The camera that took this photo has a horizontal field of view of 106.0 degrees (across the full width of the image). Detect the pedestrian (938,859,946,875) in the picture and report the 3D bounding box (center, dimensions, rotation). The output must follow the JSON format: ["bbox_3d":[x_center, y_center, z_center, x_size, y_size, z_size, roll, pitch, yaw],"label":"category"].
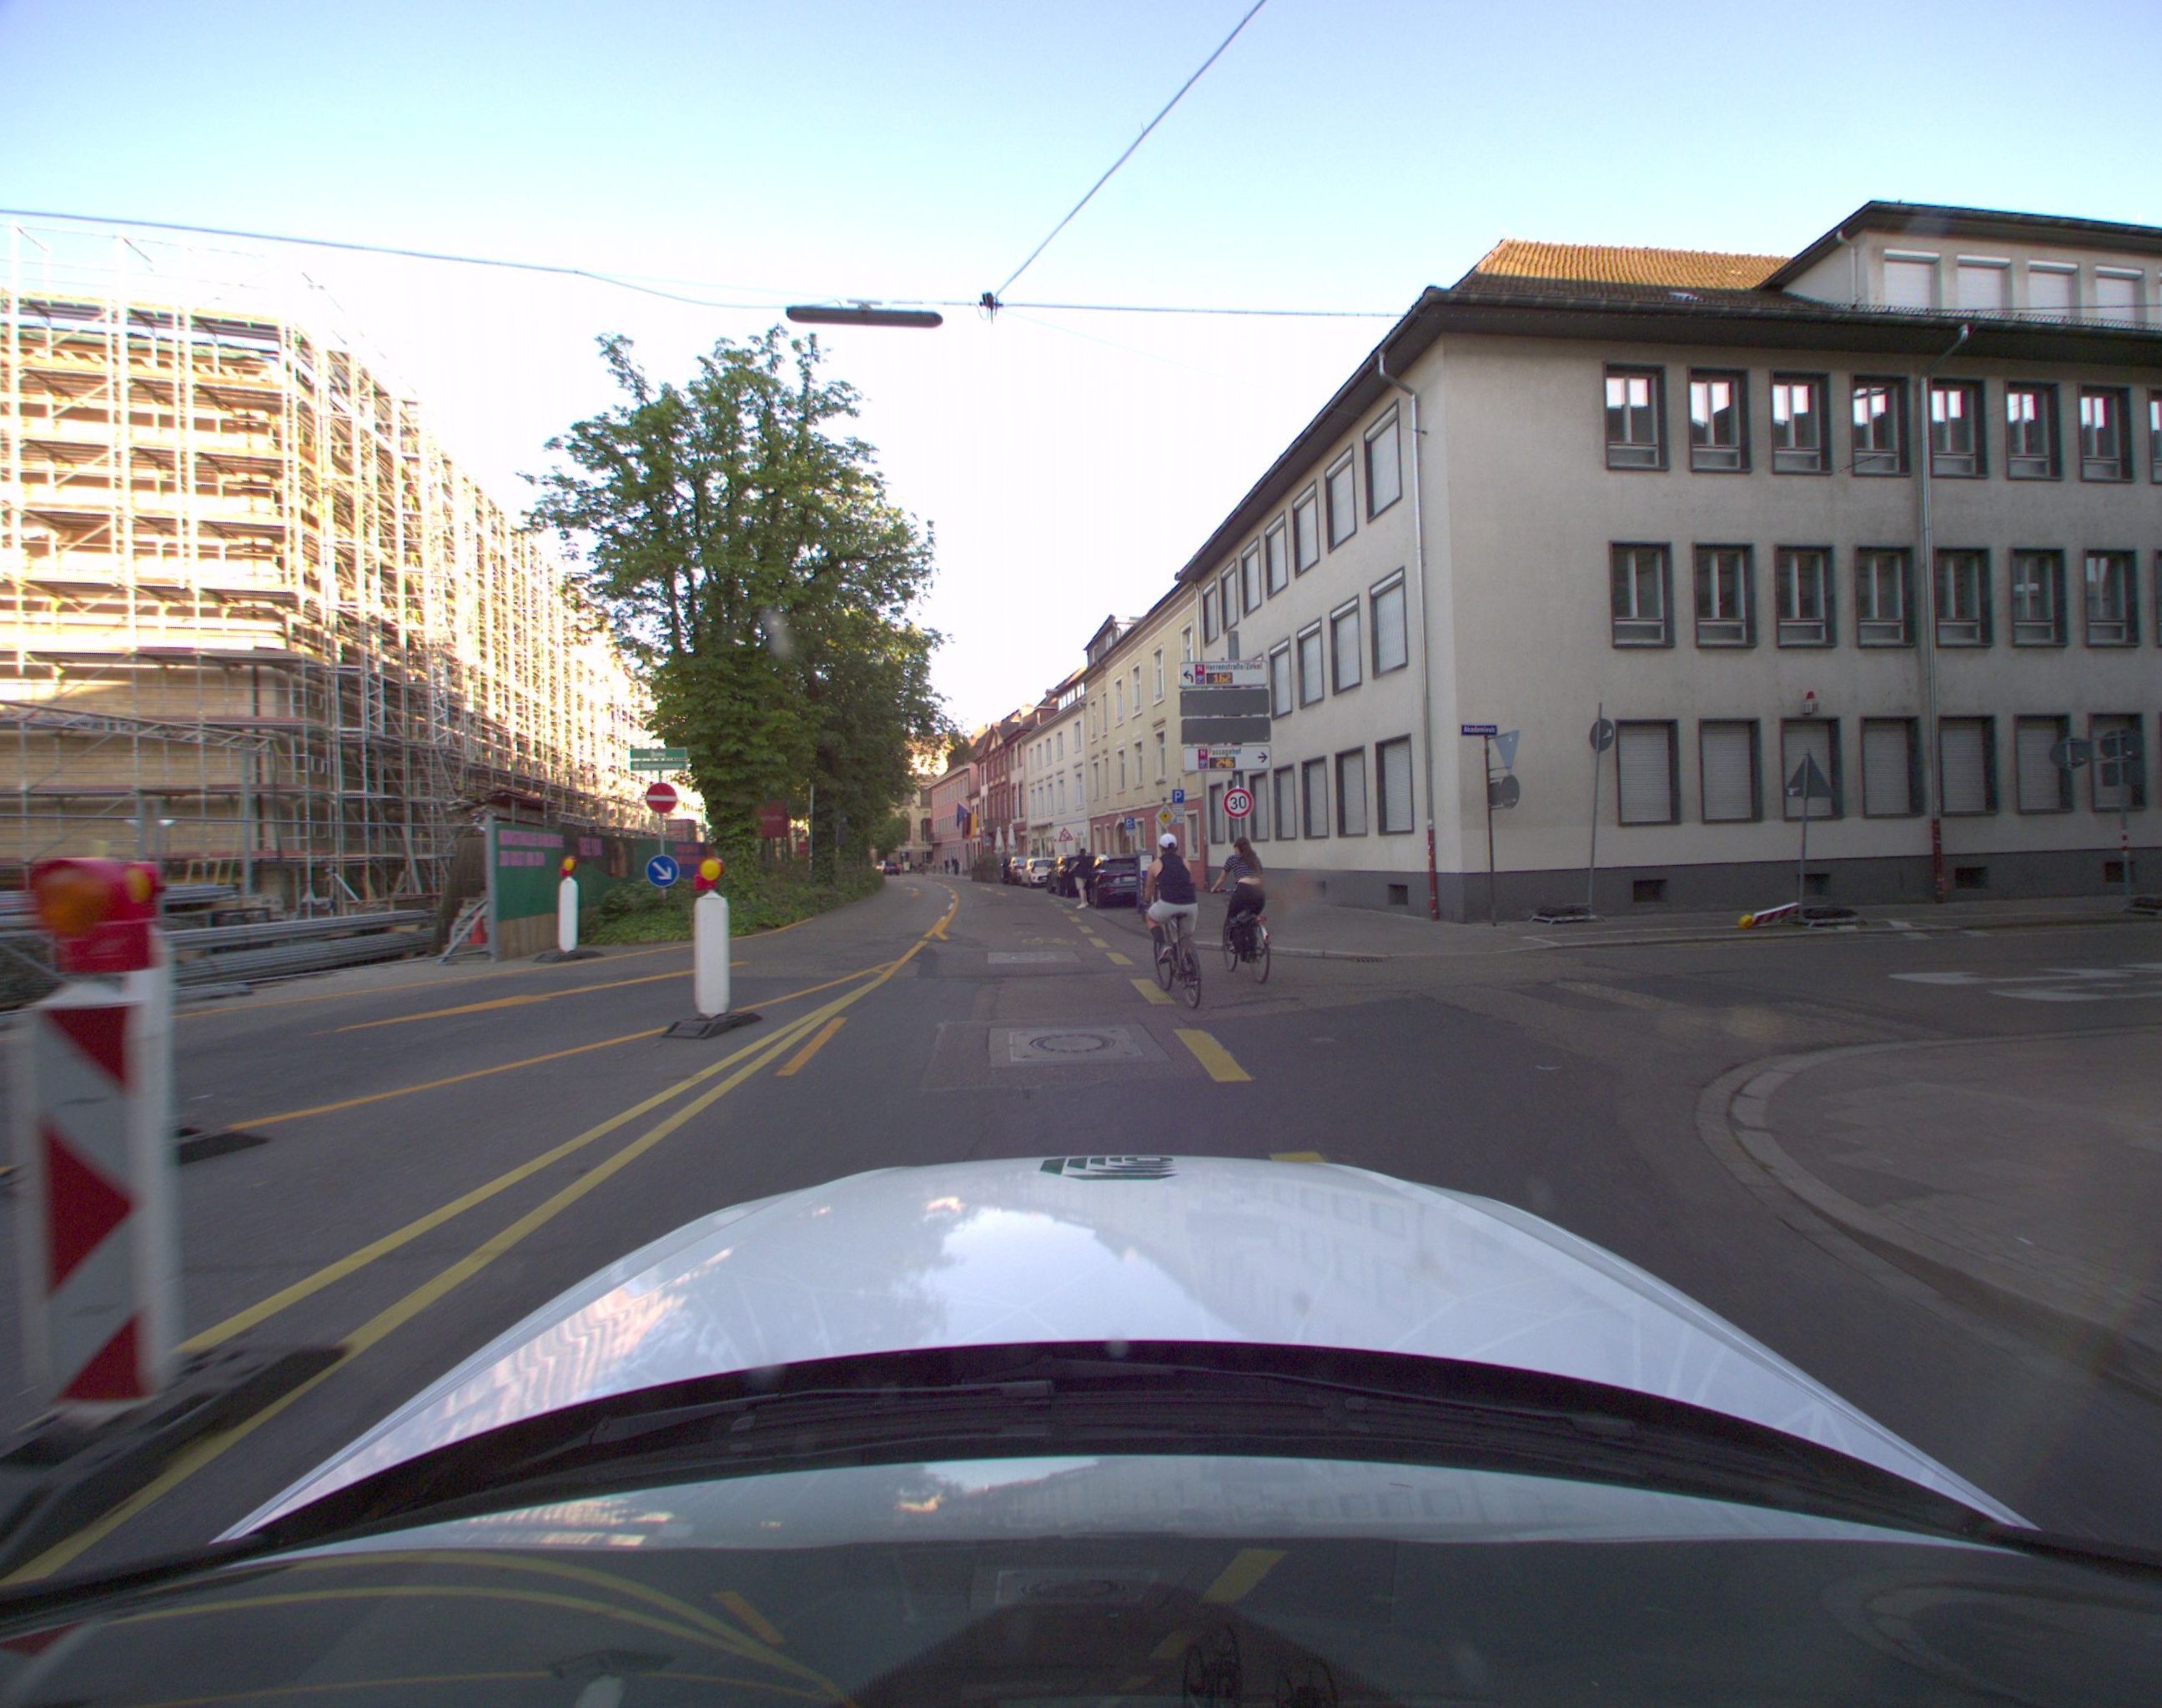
[{"bbox_3d":[-14.201,1.305,83.245,0.669,1.581,0.582,-1,0,-16],"label":"pedestrian"}]

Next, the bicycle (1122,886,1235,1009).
[{"bbox_3d":[0.966,0.909,8.570,0.669,1.071,1.895,0,0,-9],"label":"bicycle"}]

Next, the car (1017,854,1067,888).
[{"bbox_3d":[-2.031,0.834,41.558,1.815,1.560,3.846,-1,0,-14],"label":"car"}]

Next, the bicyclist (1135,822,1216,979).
[{"bbox_3d":[0.973,0.465,8.495,0.668,1.566,0.696,0,-1,-9],"label":"bicyclist"}]

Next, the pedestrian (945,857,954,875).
[{"bbox_3d":[-13.386,1.245,82.777,0.752,1.762,0.582,-1,0,-17],"label":"pedestrian"}]

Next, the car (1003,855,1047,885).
[{"bbox_3d":[-3.193,0.879,45.976,1.815,1.560,3.846,-1,0,-14],"label":"car"}]

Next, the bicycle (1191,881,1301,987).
[{"bbox_3d":[1.951,0.906,9.975,0.652,1.071,2.253,0,0,-7],"label":"bicycle"}]

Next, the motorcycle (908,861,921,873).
[{"bbox_3d":[-18.145,1.389,88.696,1.044,1.248,2.383,-2,0,-19],"label":"motorcycle"}]

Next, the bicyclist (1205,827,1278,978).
[{"bbox_3d":[1.945,0.562,9.961,0.649,1.760,0.862,0,0,-7],"label":"bicyclist"}]

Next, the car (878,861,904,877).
[{"bbox_3d":[-19.643,1.517,84.129,1.821,1.560,3.834,-1,0,-24],"label":"car"}]

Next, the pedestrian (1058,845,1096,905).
[{"bbox_3d":[-0.134,0.665,25.988,0.903,1.866,0.926,-1,0,-21],"label":"pedestrian"}]

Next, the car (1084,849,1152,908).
[{"bbox_3d":[1.093,0.712,25.760,1.808,1.682,3.916,-2,0,-2],"label":"car"}]

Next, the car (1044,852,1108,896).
[{"bbox_3d":[-0.285,0.789,33.616,1.814,1.684,3.982,-1,0,-13],"label":"car"}]
